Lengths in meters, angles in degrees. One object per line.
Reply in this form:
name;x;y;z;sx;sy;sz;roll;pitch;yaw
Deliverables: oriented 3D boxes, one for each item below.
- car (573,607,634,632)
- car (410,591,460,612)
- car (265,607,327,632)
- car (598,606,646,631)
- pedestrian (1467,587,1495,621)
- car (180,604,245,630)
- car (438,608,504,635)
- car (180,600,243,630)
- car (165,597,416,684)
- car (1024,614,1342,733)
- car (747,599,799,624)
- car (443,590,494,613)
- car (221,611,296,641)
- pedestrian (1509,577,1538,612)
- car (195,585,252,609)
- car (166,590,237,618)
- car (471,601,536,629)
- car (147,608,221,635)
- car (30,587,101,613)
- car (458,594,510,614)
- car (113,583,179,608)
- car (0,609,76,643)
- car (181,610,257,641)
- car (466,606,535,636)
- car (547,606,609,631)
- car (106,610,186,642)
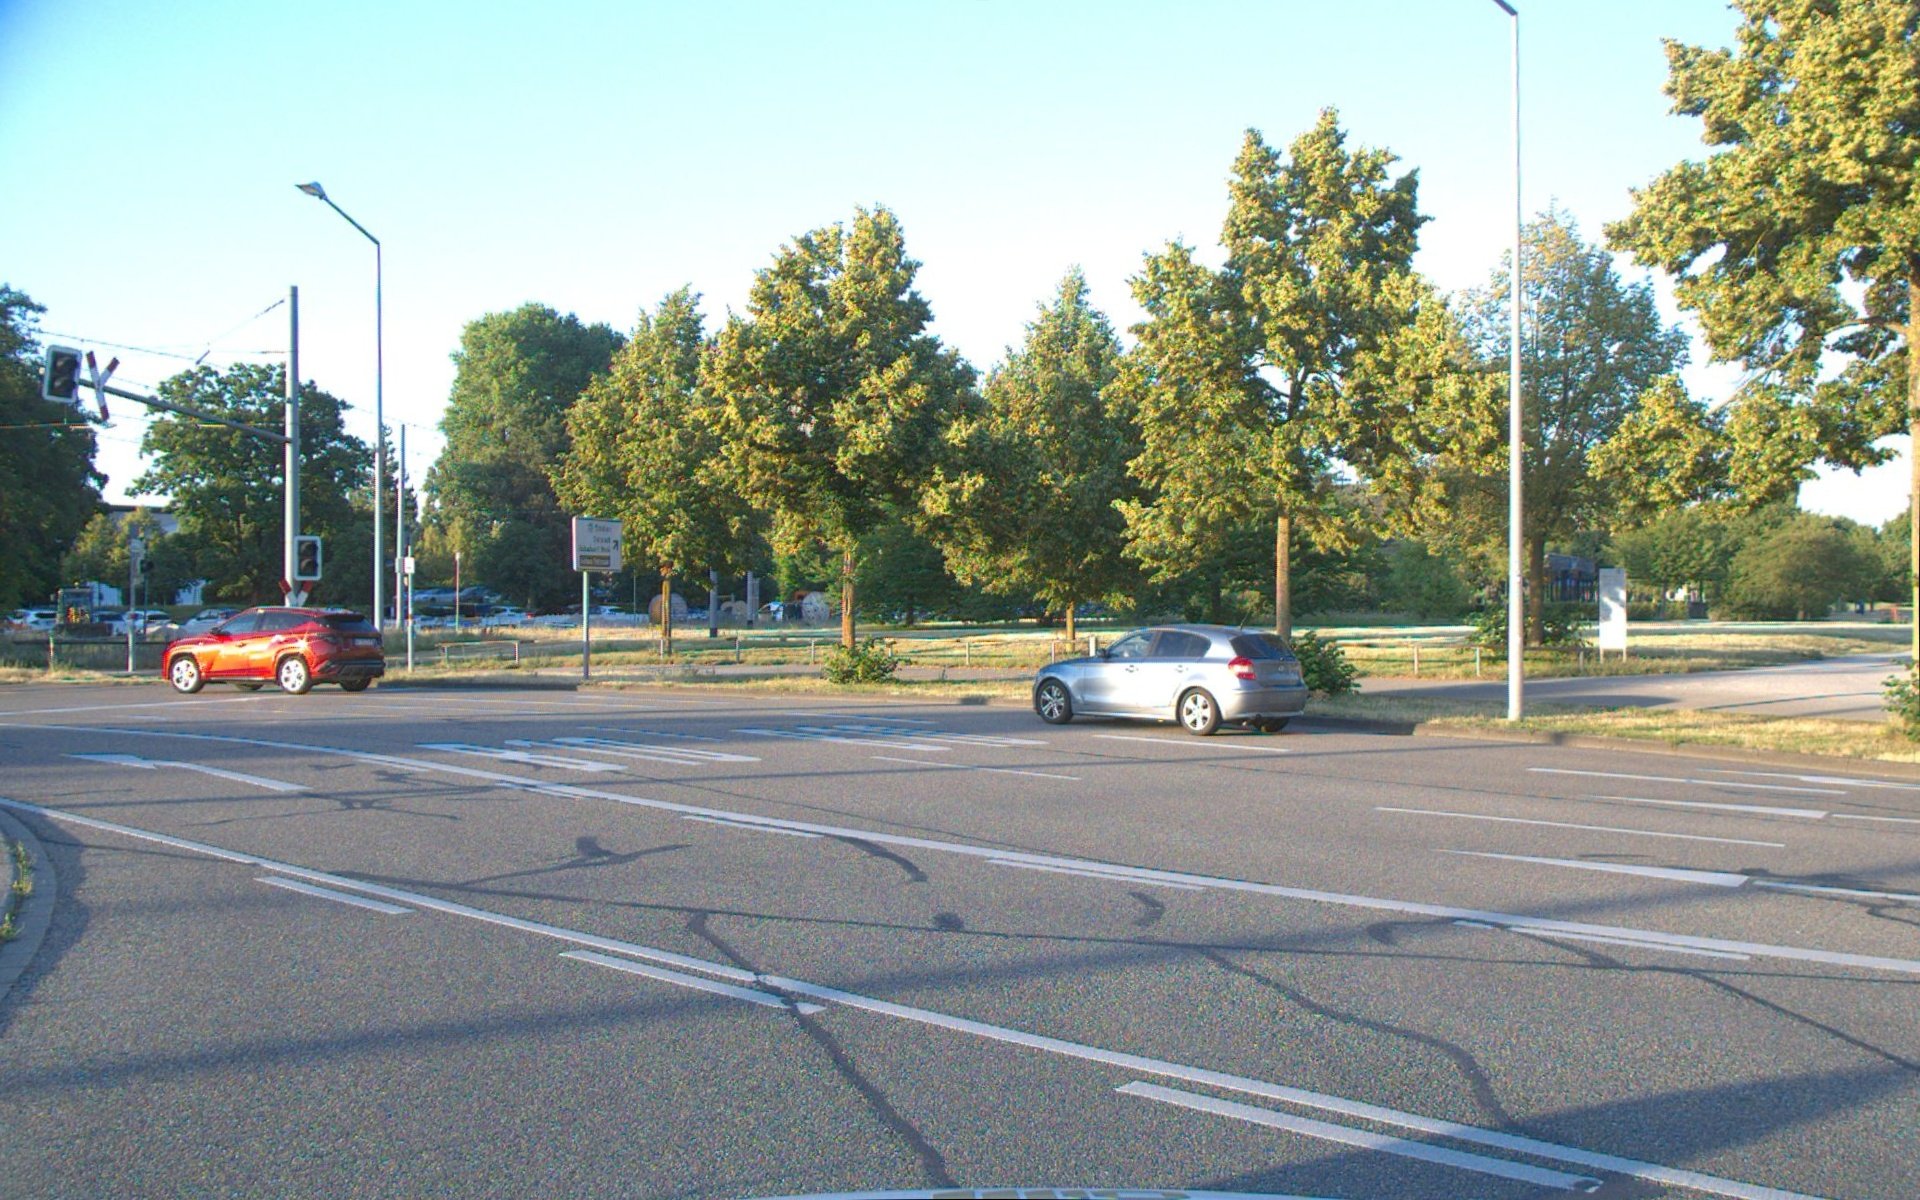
car;-24.879;1.349;115.423;3.915;1.632;1.995;0;0;32
car;-47.928;0.150;151.064;1.959;1.847;3.987;0;0;34
car;-45.795;1.349;114.112;3.933;1.691;1.889;0;0;-23
car;-26.342;1.423;128.879;1.979;1.782;4.538;0;1;-37
pedestrian;24.874;0.191;78.996;1.047;1.646;0.911;0;0;2
car;-50.539;1.138;111.871;3.939;1.691;1.983;0;0;-27
car;-30.955;1.349;104.685;3.915;1.632;1.995;0;0;32
car;-52.564;1.066;116.170;3.939;2.049;1.983;0;0;-27
car;-13.098;0.757;32.407;4.309;1.601;2.001;0;0;18
car;2.961;0.928;22.610;1.853;1.414;4.097;0;0;-43
car;-12.981;0.786;114.671;1.724;1.646;3.940;0;0;-41
car;-44.066;0.145;148.237;1.963;2.049;3.979;0;0;40
car;-39.068;1.420;92.044;3.915;1.632;1.995;0;0;32
pedestrian;26.741;-0.268;78.490;1.047;1.646;0.911;0;0;2
car;-63.353;-0.289;142.362;1.958;2.049;4.105;0;0;33
car;-56.625;0.271;123.492;1.956;2.049;4.590;0;0;29
car;-34.571;1.114;125.262;4.499;2.049;1.996;0;0;-9
car;-50.209;1.398;107.084;1.863;1.691;3.987;0;0;34
car;-70.511;0.011;130.466;1.956;2.049;4.590;0;0;29
car;-41.666;0.330;144.724;3.902;1.736;2.001;0;0;6
car;-67.095;-0.378;136.341;1.958;2.049;4.585;0;0;33
car;-45.606;1.261;81.434;3.915;1.632;1.995;0;0;32
car;-40.511;1.388;90.377;3.915;1.632;1.995;0;0;32
car;-32.503;1.469;117.155;4.499;2.049;1.996;0;0;-9
car;-26.248;1.263;113.674;3.915;1.632;1.995;0;0;32
car;-42.236;1.338;85.787;3.915;1.632;1.995;0;0;32
